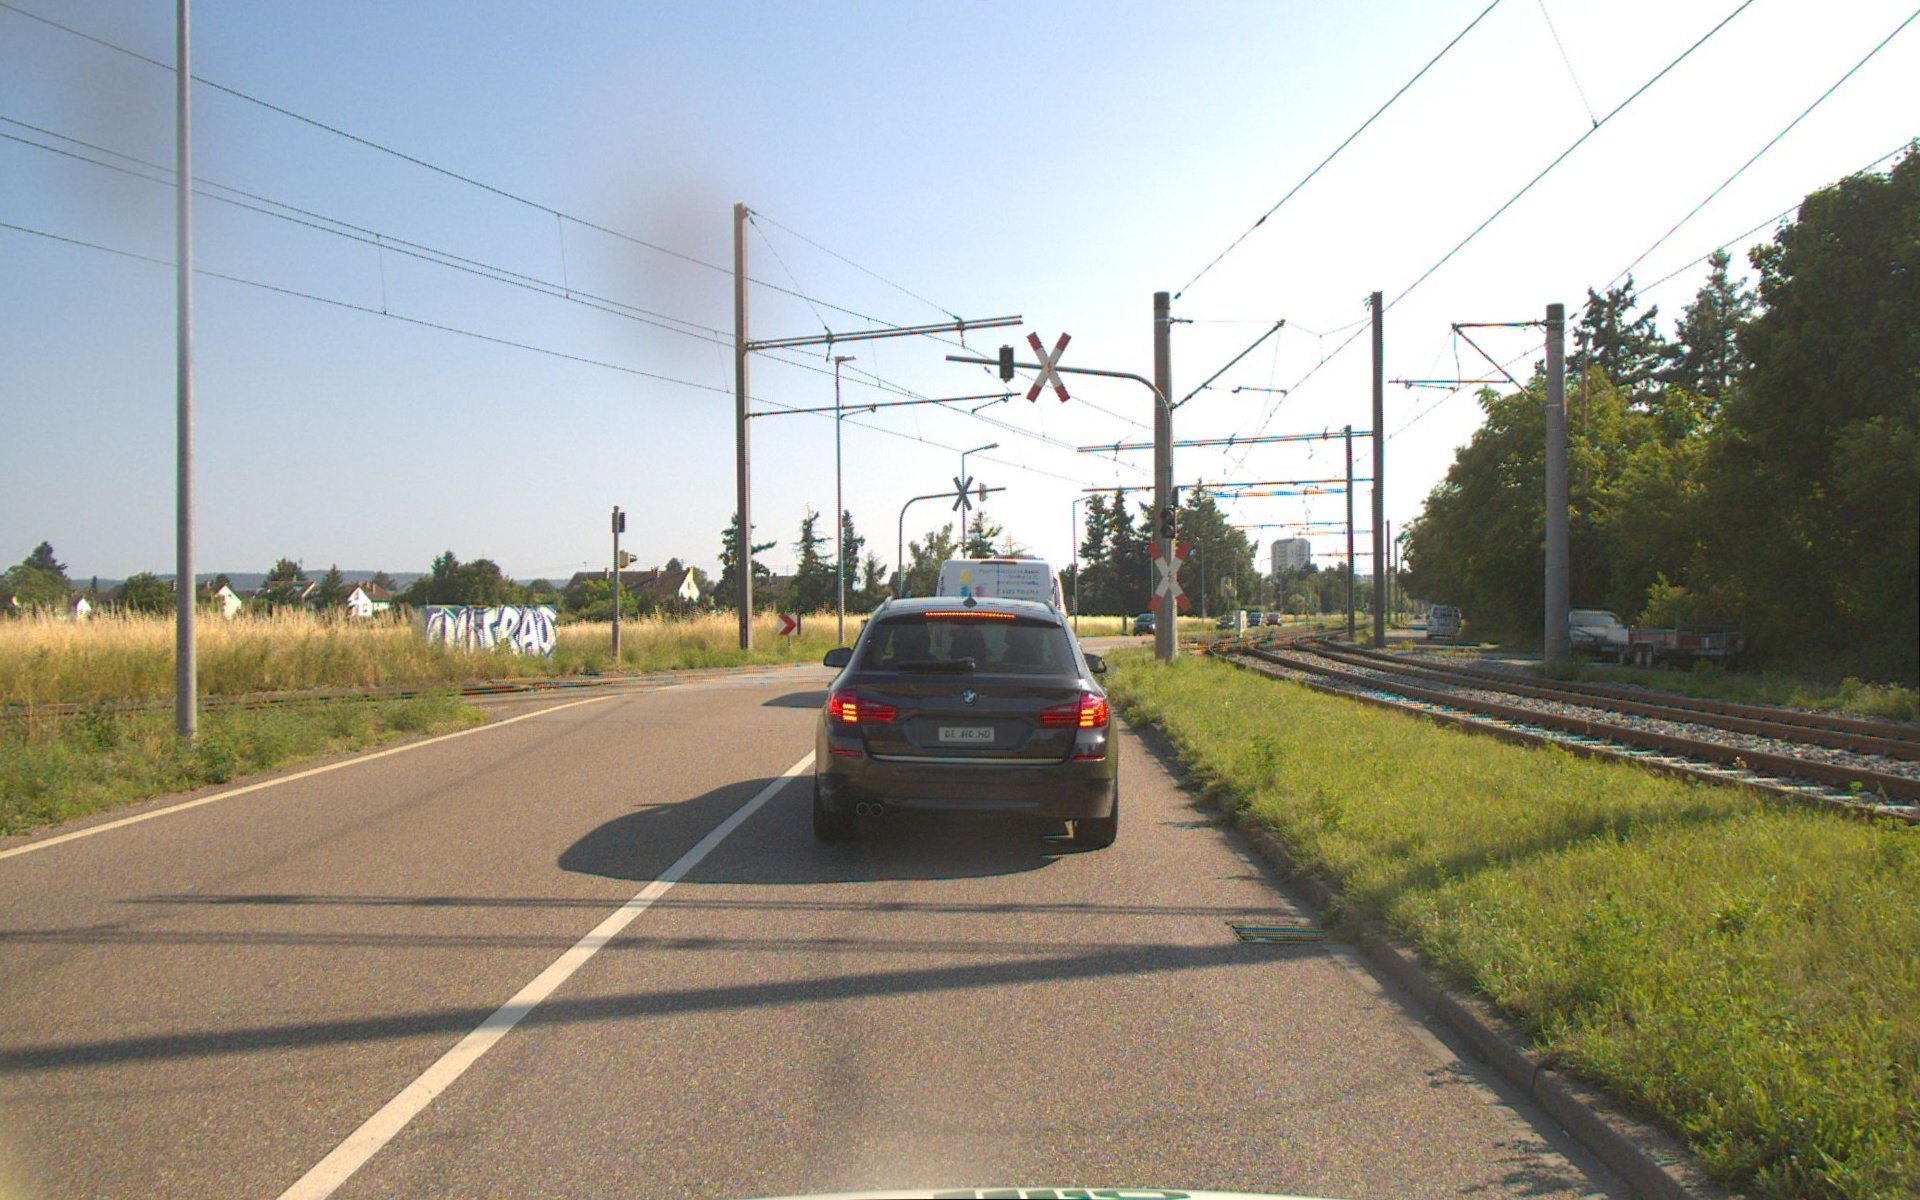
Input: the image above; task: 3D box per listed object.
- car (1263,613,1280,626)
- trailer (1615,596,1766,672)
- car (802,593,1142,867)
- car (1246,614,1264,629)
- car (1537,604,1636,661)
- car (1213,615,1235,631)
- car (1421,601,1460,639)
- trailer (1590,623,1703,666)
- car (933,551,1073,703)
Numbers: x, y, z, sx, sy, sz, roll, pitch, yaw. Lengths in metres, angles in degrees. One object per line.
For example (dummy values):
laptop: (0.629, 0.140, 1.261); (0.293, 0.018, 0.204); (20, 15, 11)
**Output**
car: (38.871, 2.414, 206.431); (1.676, 1.576, 3.930); (0, 0, 17)
trailer: (16.987, 0.770, 38.691); (1.984, 1.624, 4.262); (2, 0, 6)
car: (0.039, 0.696, 11.330); (1.831, 1.478, 4.743); (0, 0, -1)
car: (33.578, 2.414, 188.093); (1.670, 1.694, 4.593); (0, 0, 15)
car: (17.897, 0.886, 47.459); (1.662, 1.482, 4.884); (2, 0, 9)
car: (25.655, 2.226, 160.422); (1.657, 1.465, 4.286); (1, 0, 15)
car: (27.680, 1.151, 95.412); (1.951, 2.039, 5.070); (2, 0, 15)
trailer: (17.648, 1.114, 42.685); (1.695, 0.956, 3.730); (3, 0, 7)
car: (0.742, 0.373, 24.674); (1.818, 2.023, 5.110); (0, 0, 4)
